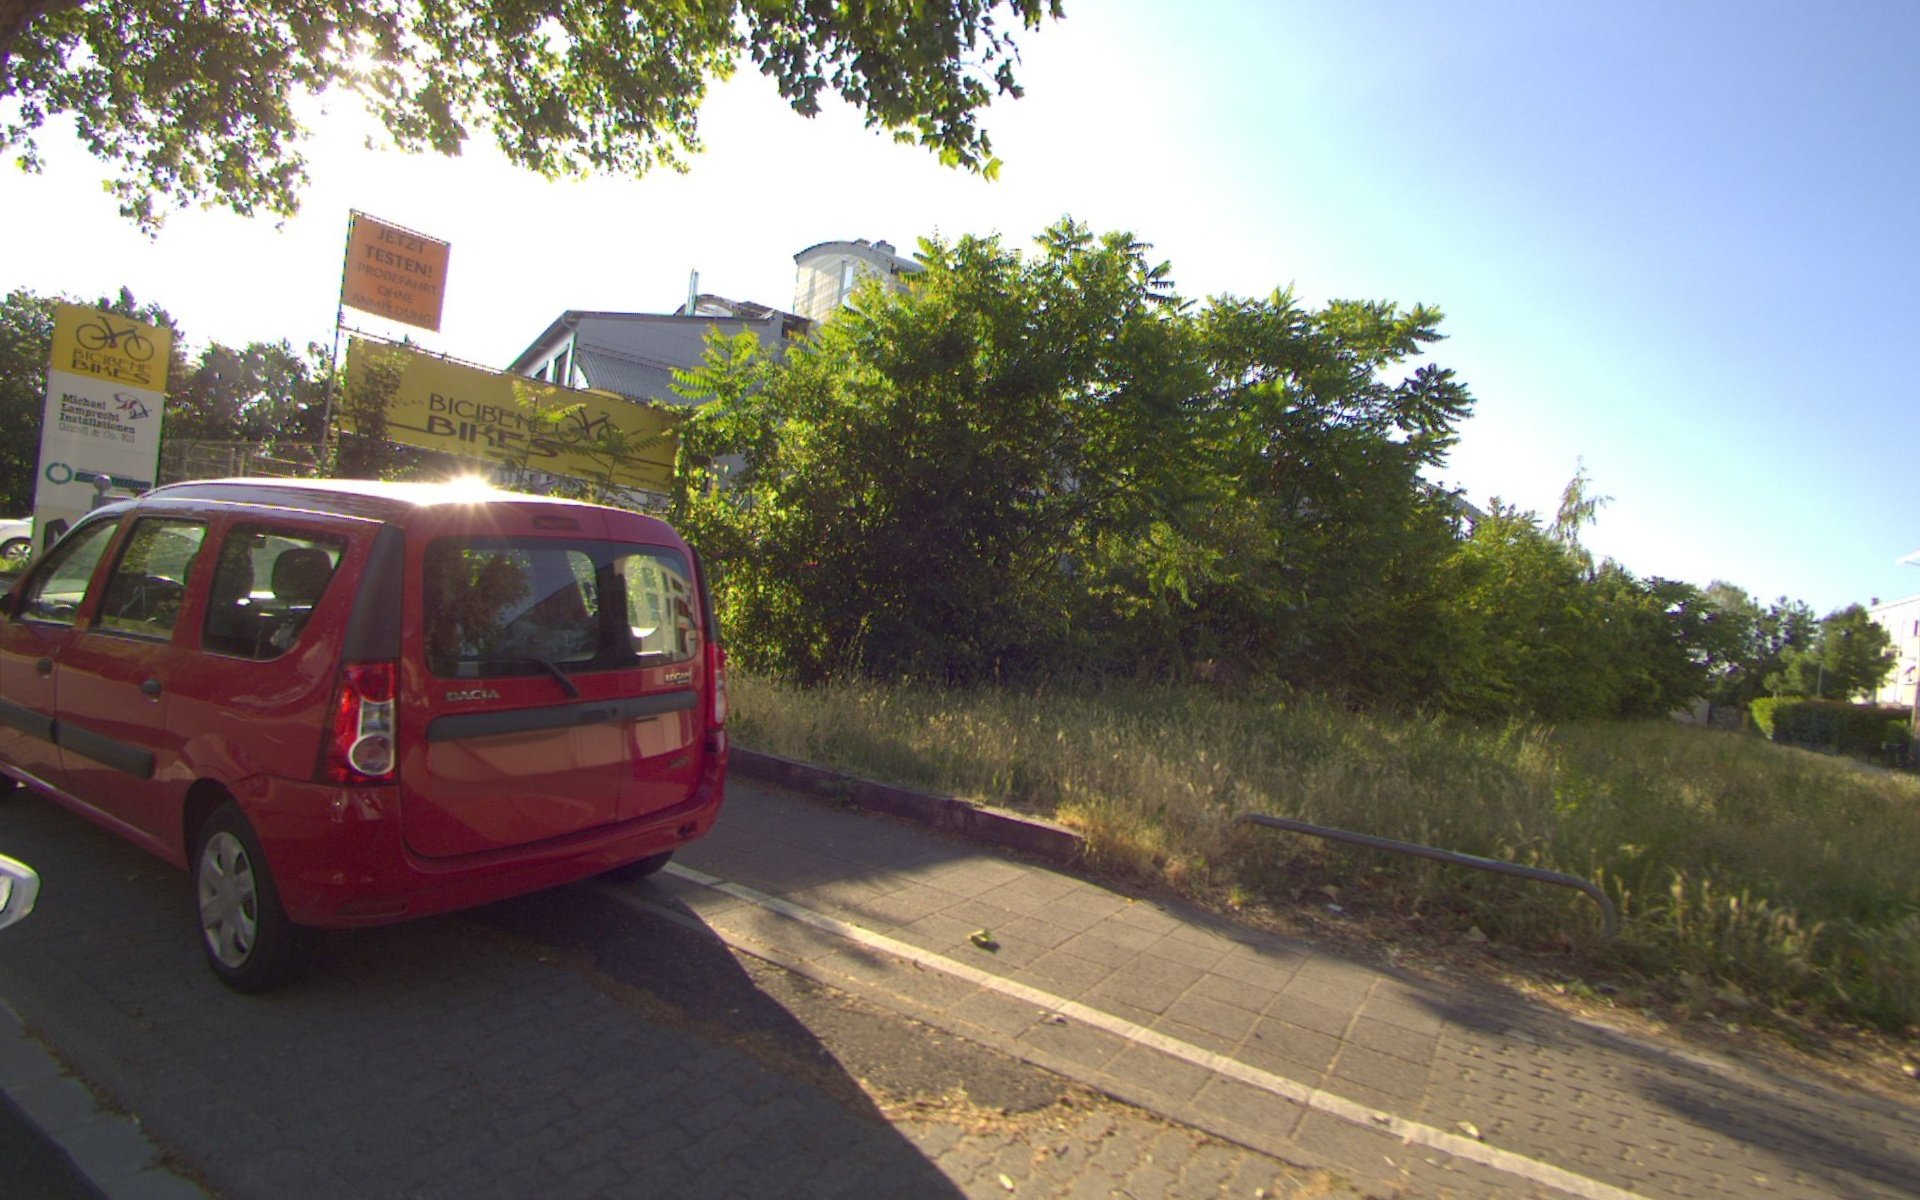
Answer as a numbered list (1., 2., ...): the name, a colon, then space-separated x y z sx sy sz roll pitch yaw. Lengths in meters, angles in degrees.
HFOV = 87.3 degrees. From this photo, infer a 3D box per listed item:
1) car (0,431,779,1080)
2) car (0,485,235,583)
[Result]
1. car: -3.013 0.274 4.477 4.265 1.711 1.599 6 0 33
2. car: -18.562 -1.406 21.934 1.811 1.579 3.991 7 -1 32
